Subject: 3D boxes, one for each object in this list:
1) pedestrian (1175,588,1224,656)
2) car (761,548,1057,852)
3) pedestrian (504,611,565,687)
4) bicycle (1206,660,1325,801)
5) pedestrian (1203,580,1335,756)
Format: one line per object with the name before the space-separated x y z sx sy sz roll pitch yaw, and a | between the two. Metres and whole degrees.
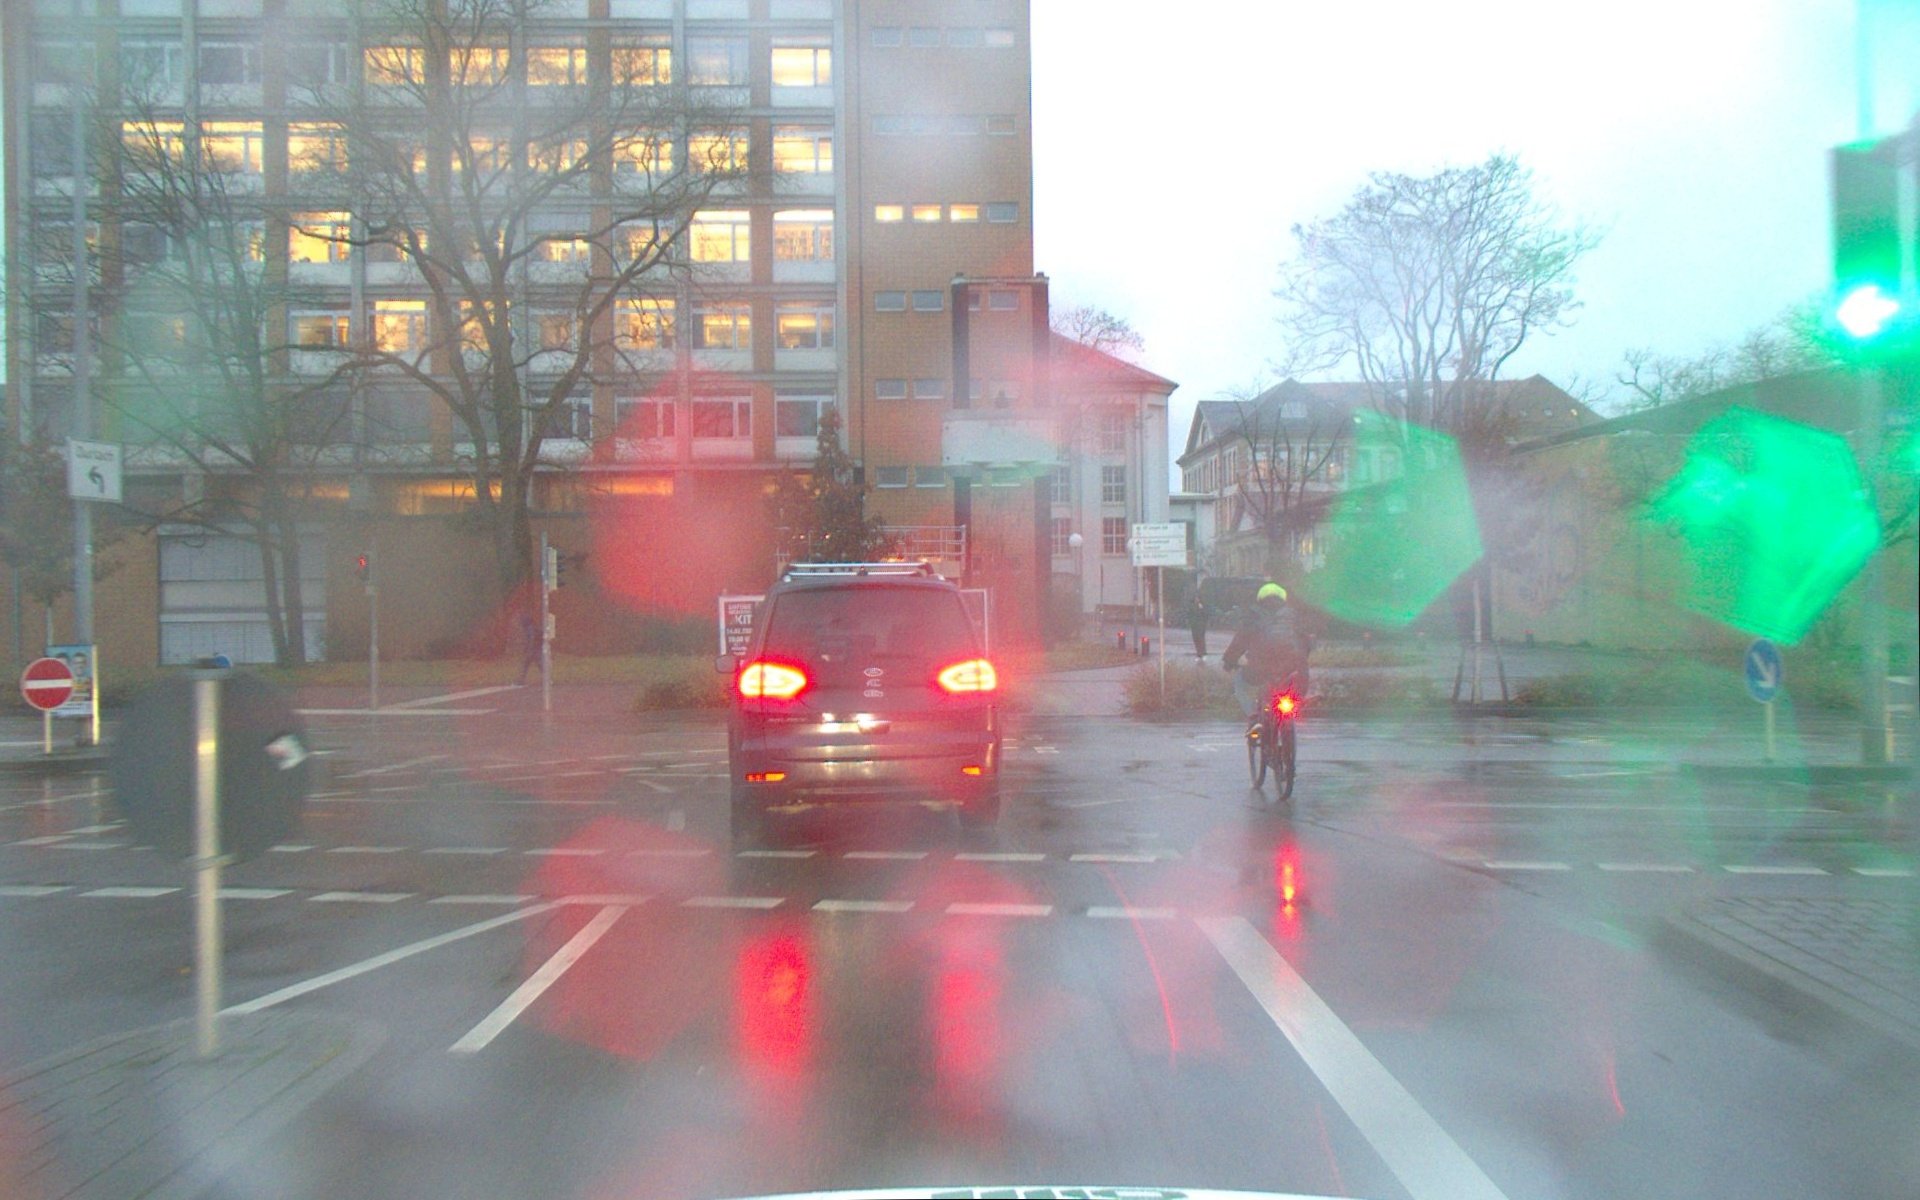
pedestrian | 6.278 0.570 43.385 0.918 1.717 0.900 -1 2 -39
car | -0.564 0.632 12.295 1.744 1.832 4.416 0 -1 -8
pedestrian | -9.982 1.151 38.820 1.044 1.717 0.810 -2 1 20
bicycle | 2.470 1.028 13.584 0.550 0.963 2.095 -2 0 -1
pedestrian | 2.472 0.531 13.307 0.857 1.340 0.848 -2 0 -1
